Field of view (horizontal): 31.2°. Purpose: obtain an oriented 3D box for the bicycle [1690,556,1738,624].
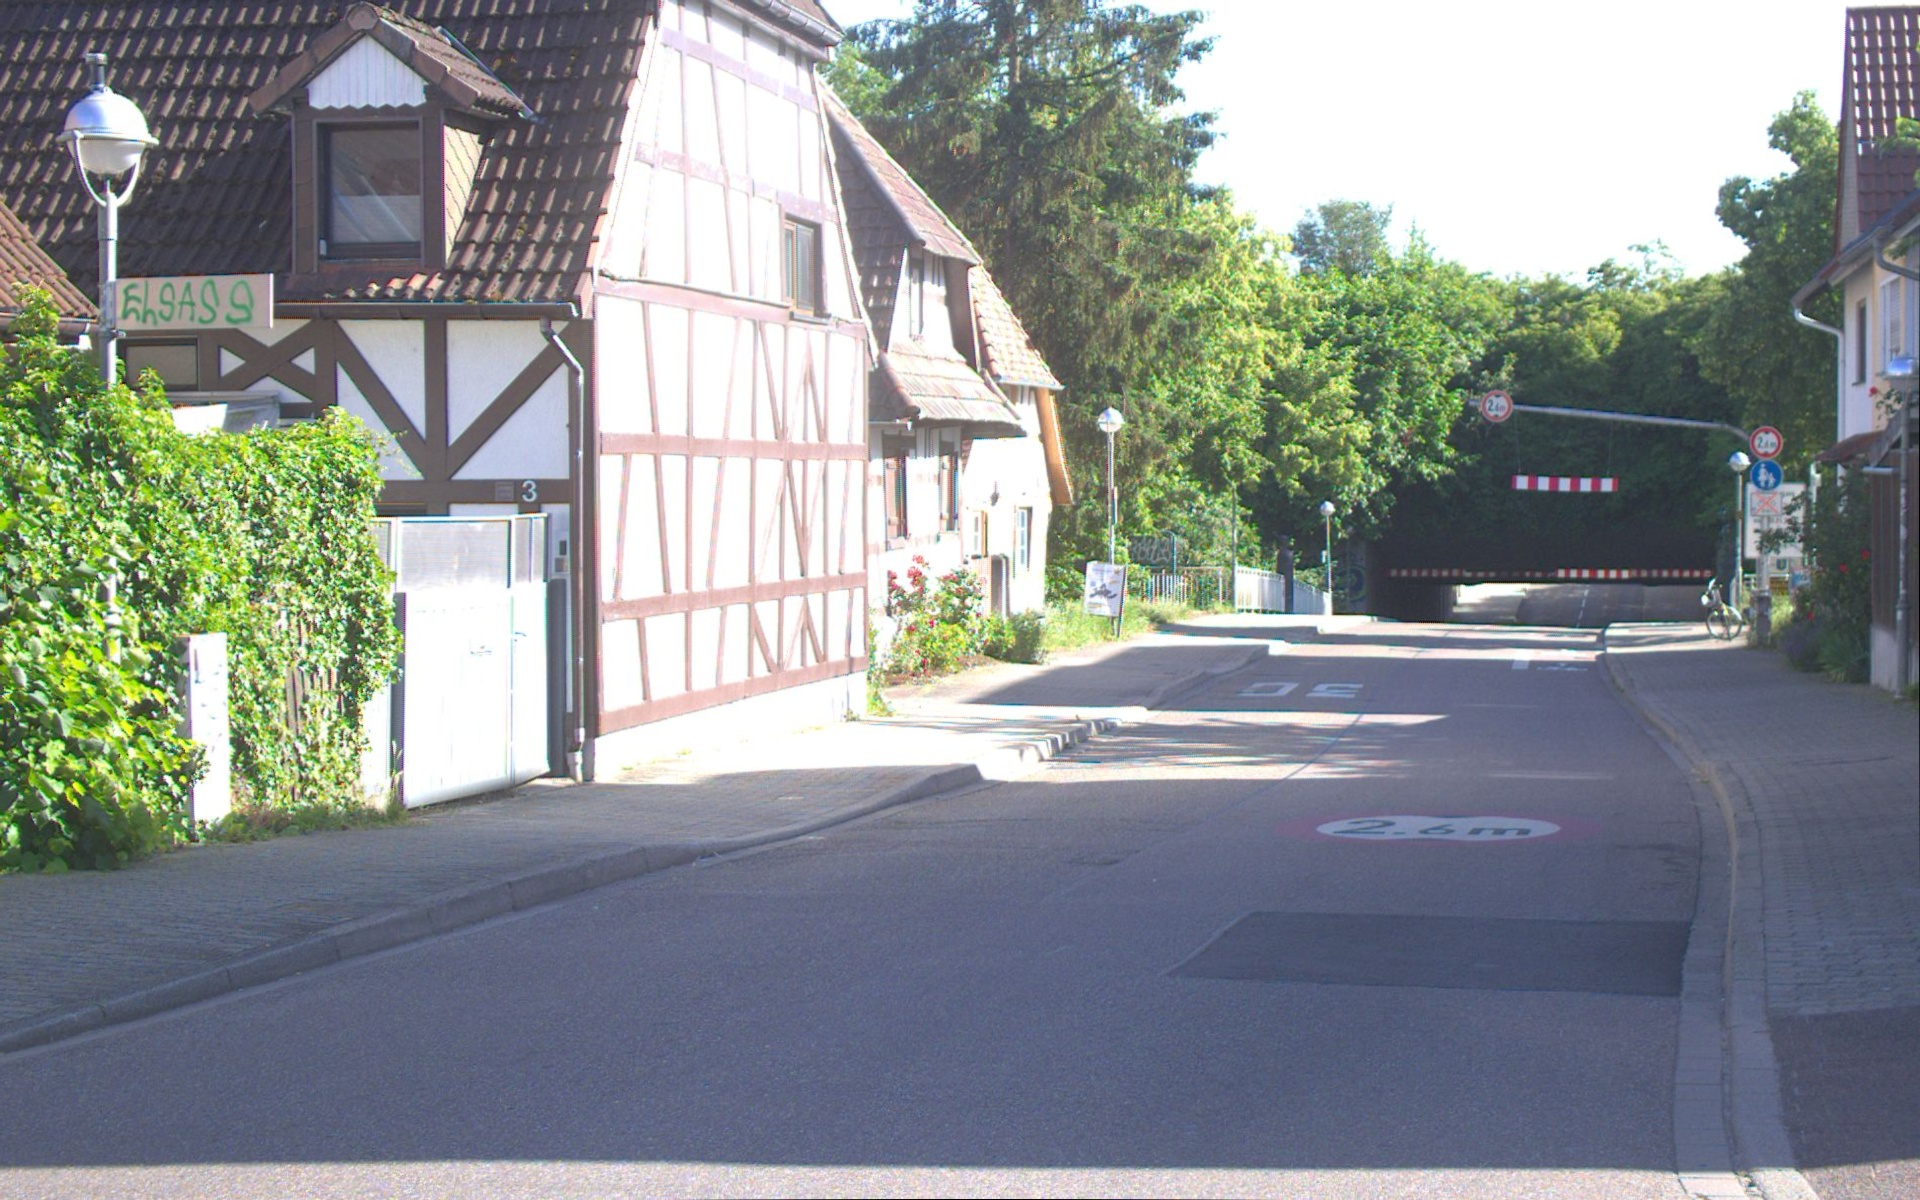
[{"bbox_3d":[13.553,-0.182,61.816,0.689,1.153,1.539,-4,0,10],"label":"bicycle"}]
